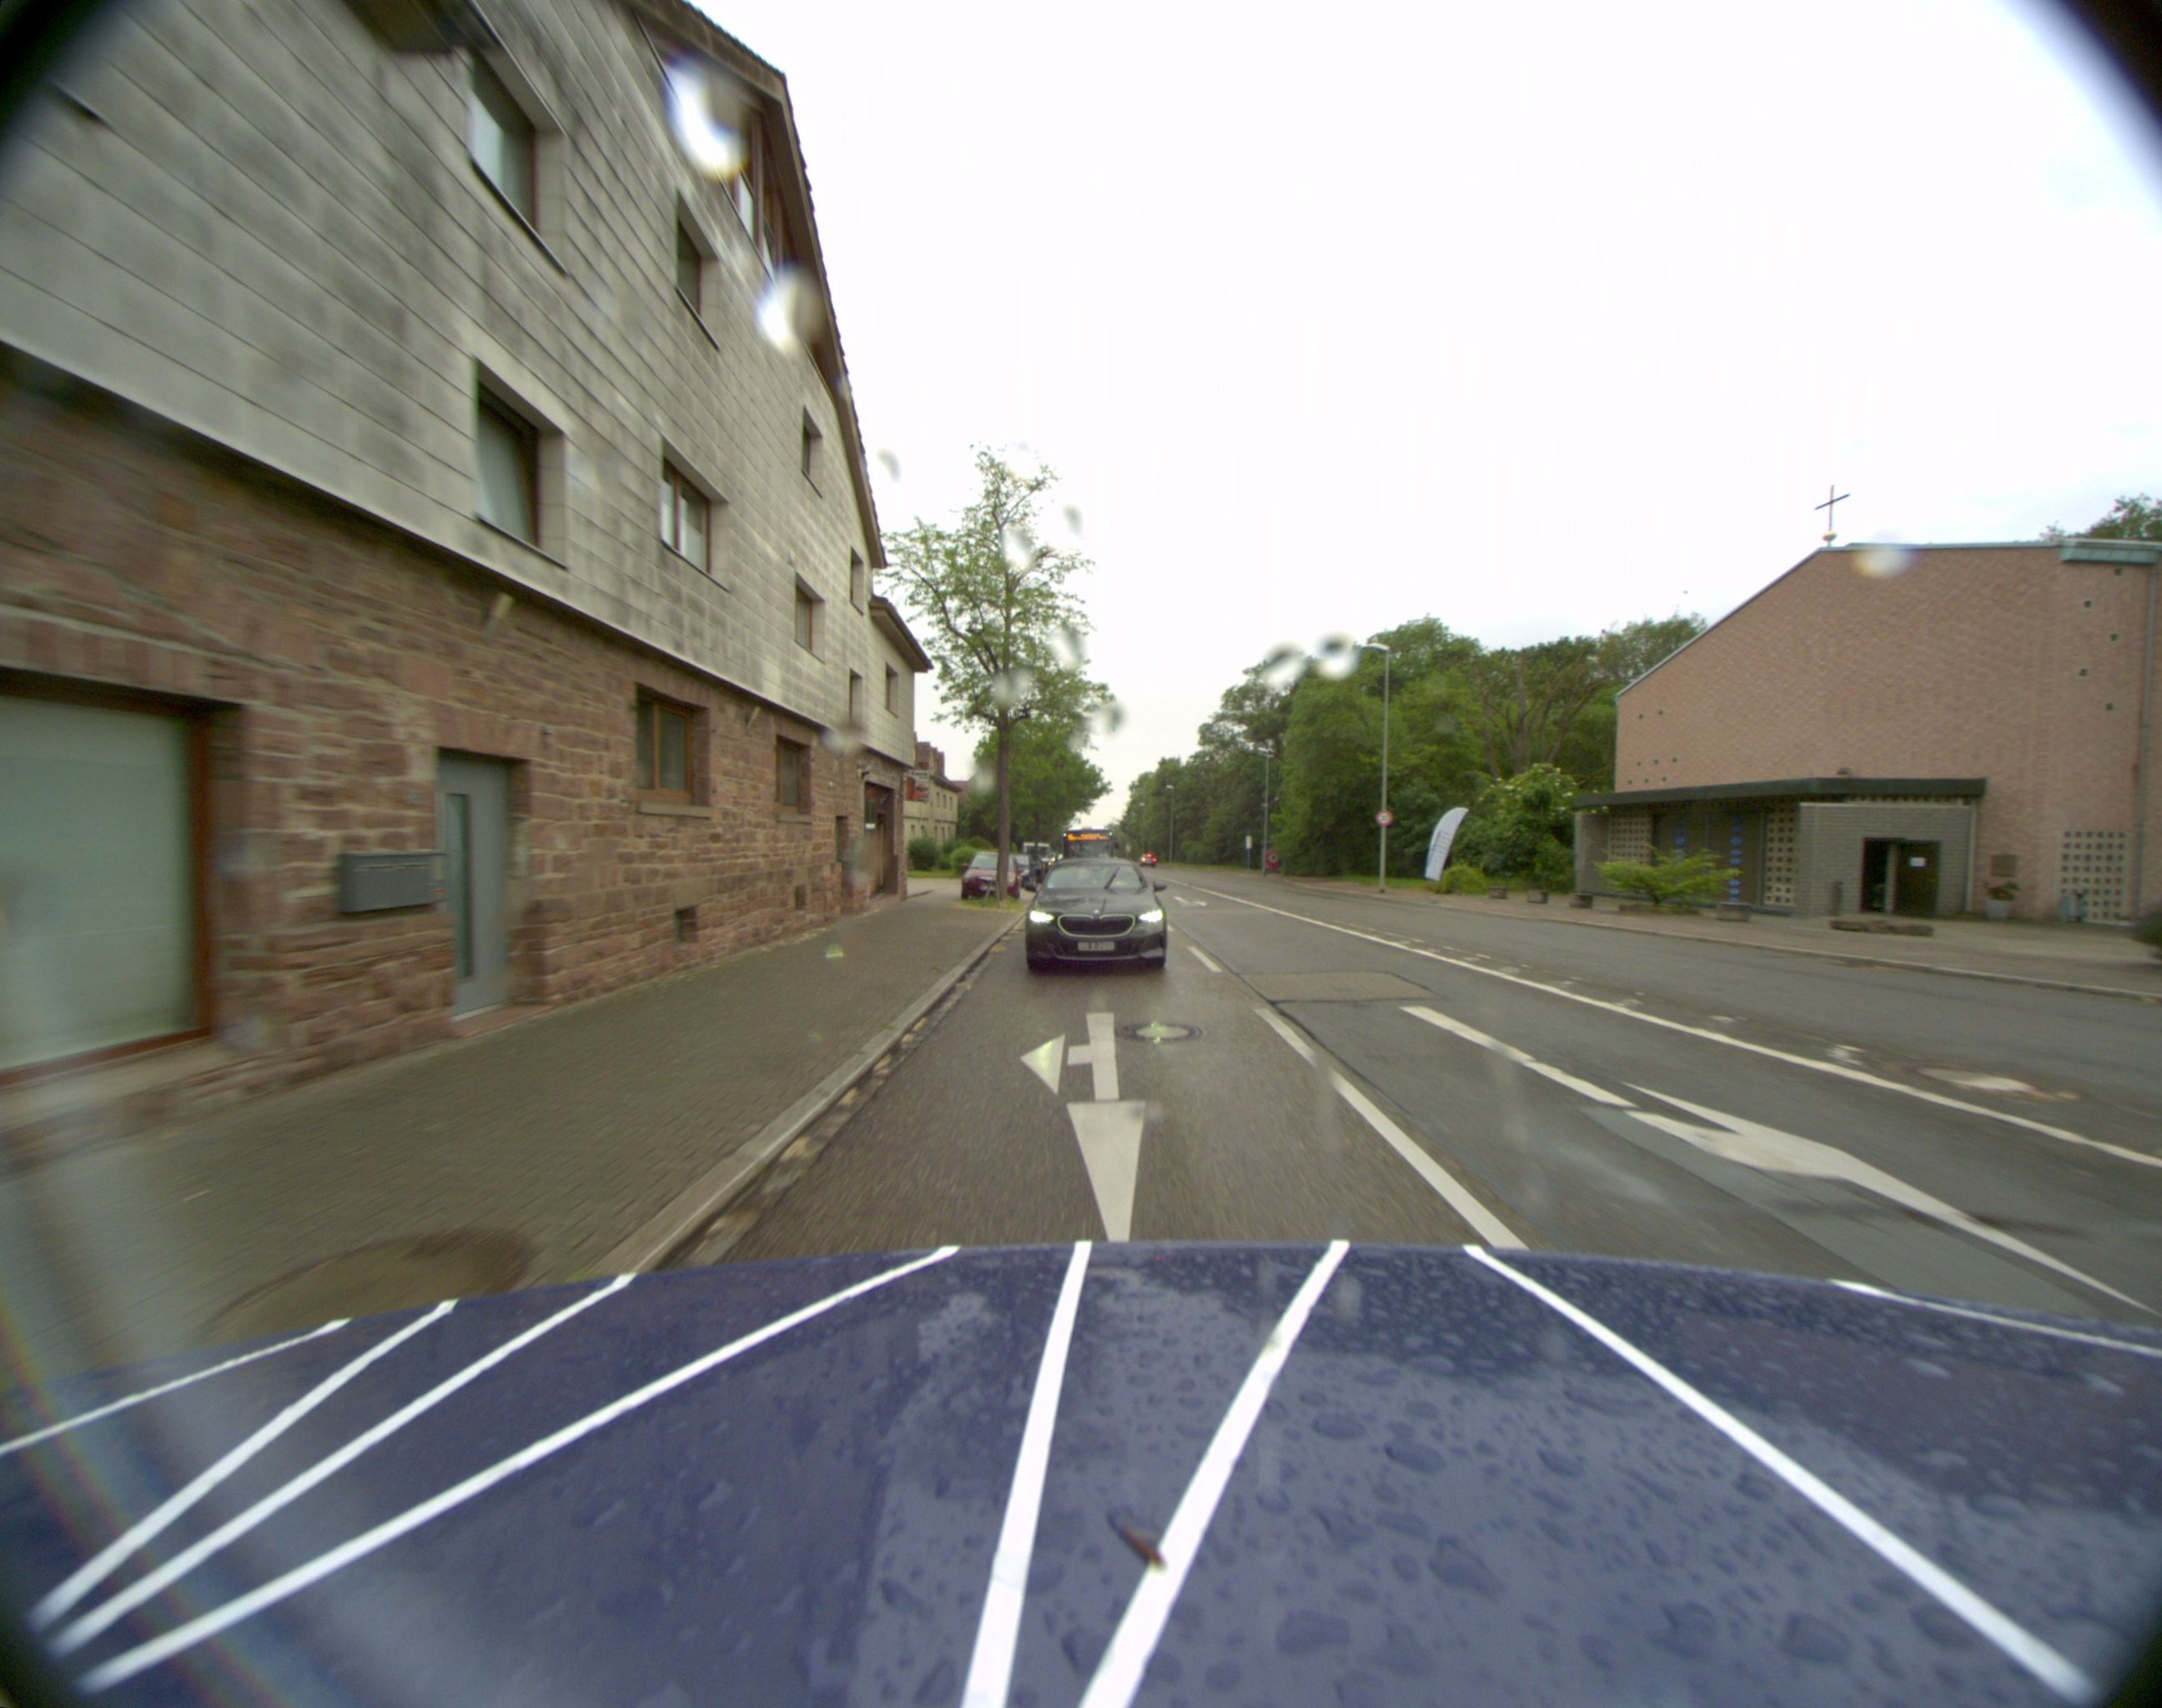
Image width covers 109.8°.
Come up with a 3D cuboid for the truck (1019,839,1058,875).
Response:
[{"bbox_3d":[-2.696,0.186,49.143,1.998,2.184,5.756,1,0,2],"label":"truck"}]

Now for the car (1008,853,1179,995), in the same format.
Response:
[{"bbox_3d":[0.173,0.785,10.693,1.882,1.520,4.316,-2,0,1],"label":"car"}]

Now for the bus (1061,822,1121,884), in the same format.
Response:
[{"bbox_3d":[0.598,-0.123,40.448,2.767,2.858,9.403,-1,1,2],"label":"bus"}]

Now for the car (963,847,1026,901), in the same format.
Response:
[{"bbox_3d":[-2.589,0.616,23.452,1.614,1.494,3.756,-1,-1,-2],"label":"car"}]

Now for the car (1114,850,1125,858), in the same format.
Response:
[{"bbox_3d":[8.034,0.041,160.475,1.915,1.445,4.947,4,1,-1],"label":"car"}]

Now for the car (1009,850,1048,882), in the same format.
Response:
[{"bbox_3d":[-2.653,0.572,39.266,1.720,1.455,3.999,2,1,-1],"label":"car"}]

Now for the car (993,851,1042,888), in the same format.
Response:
[{"bbox_3d":[-2.764,0.647,33.865,1.720,1.416,3.999,3,1,1],"label":"car"}]

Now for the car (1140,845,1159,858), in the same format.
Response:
[{"bbox_3d":[8.836,-0.355,98.115,1.913,1.581,4.316,1,0,-2],"label":"car"}]
